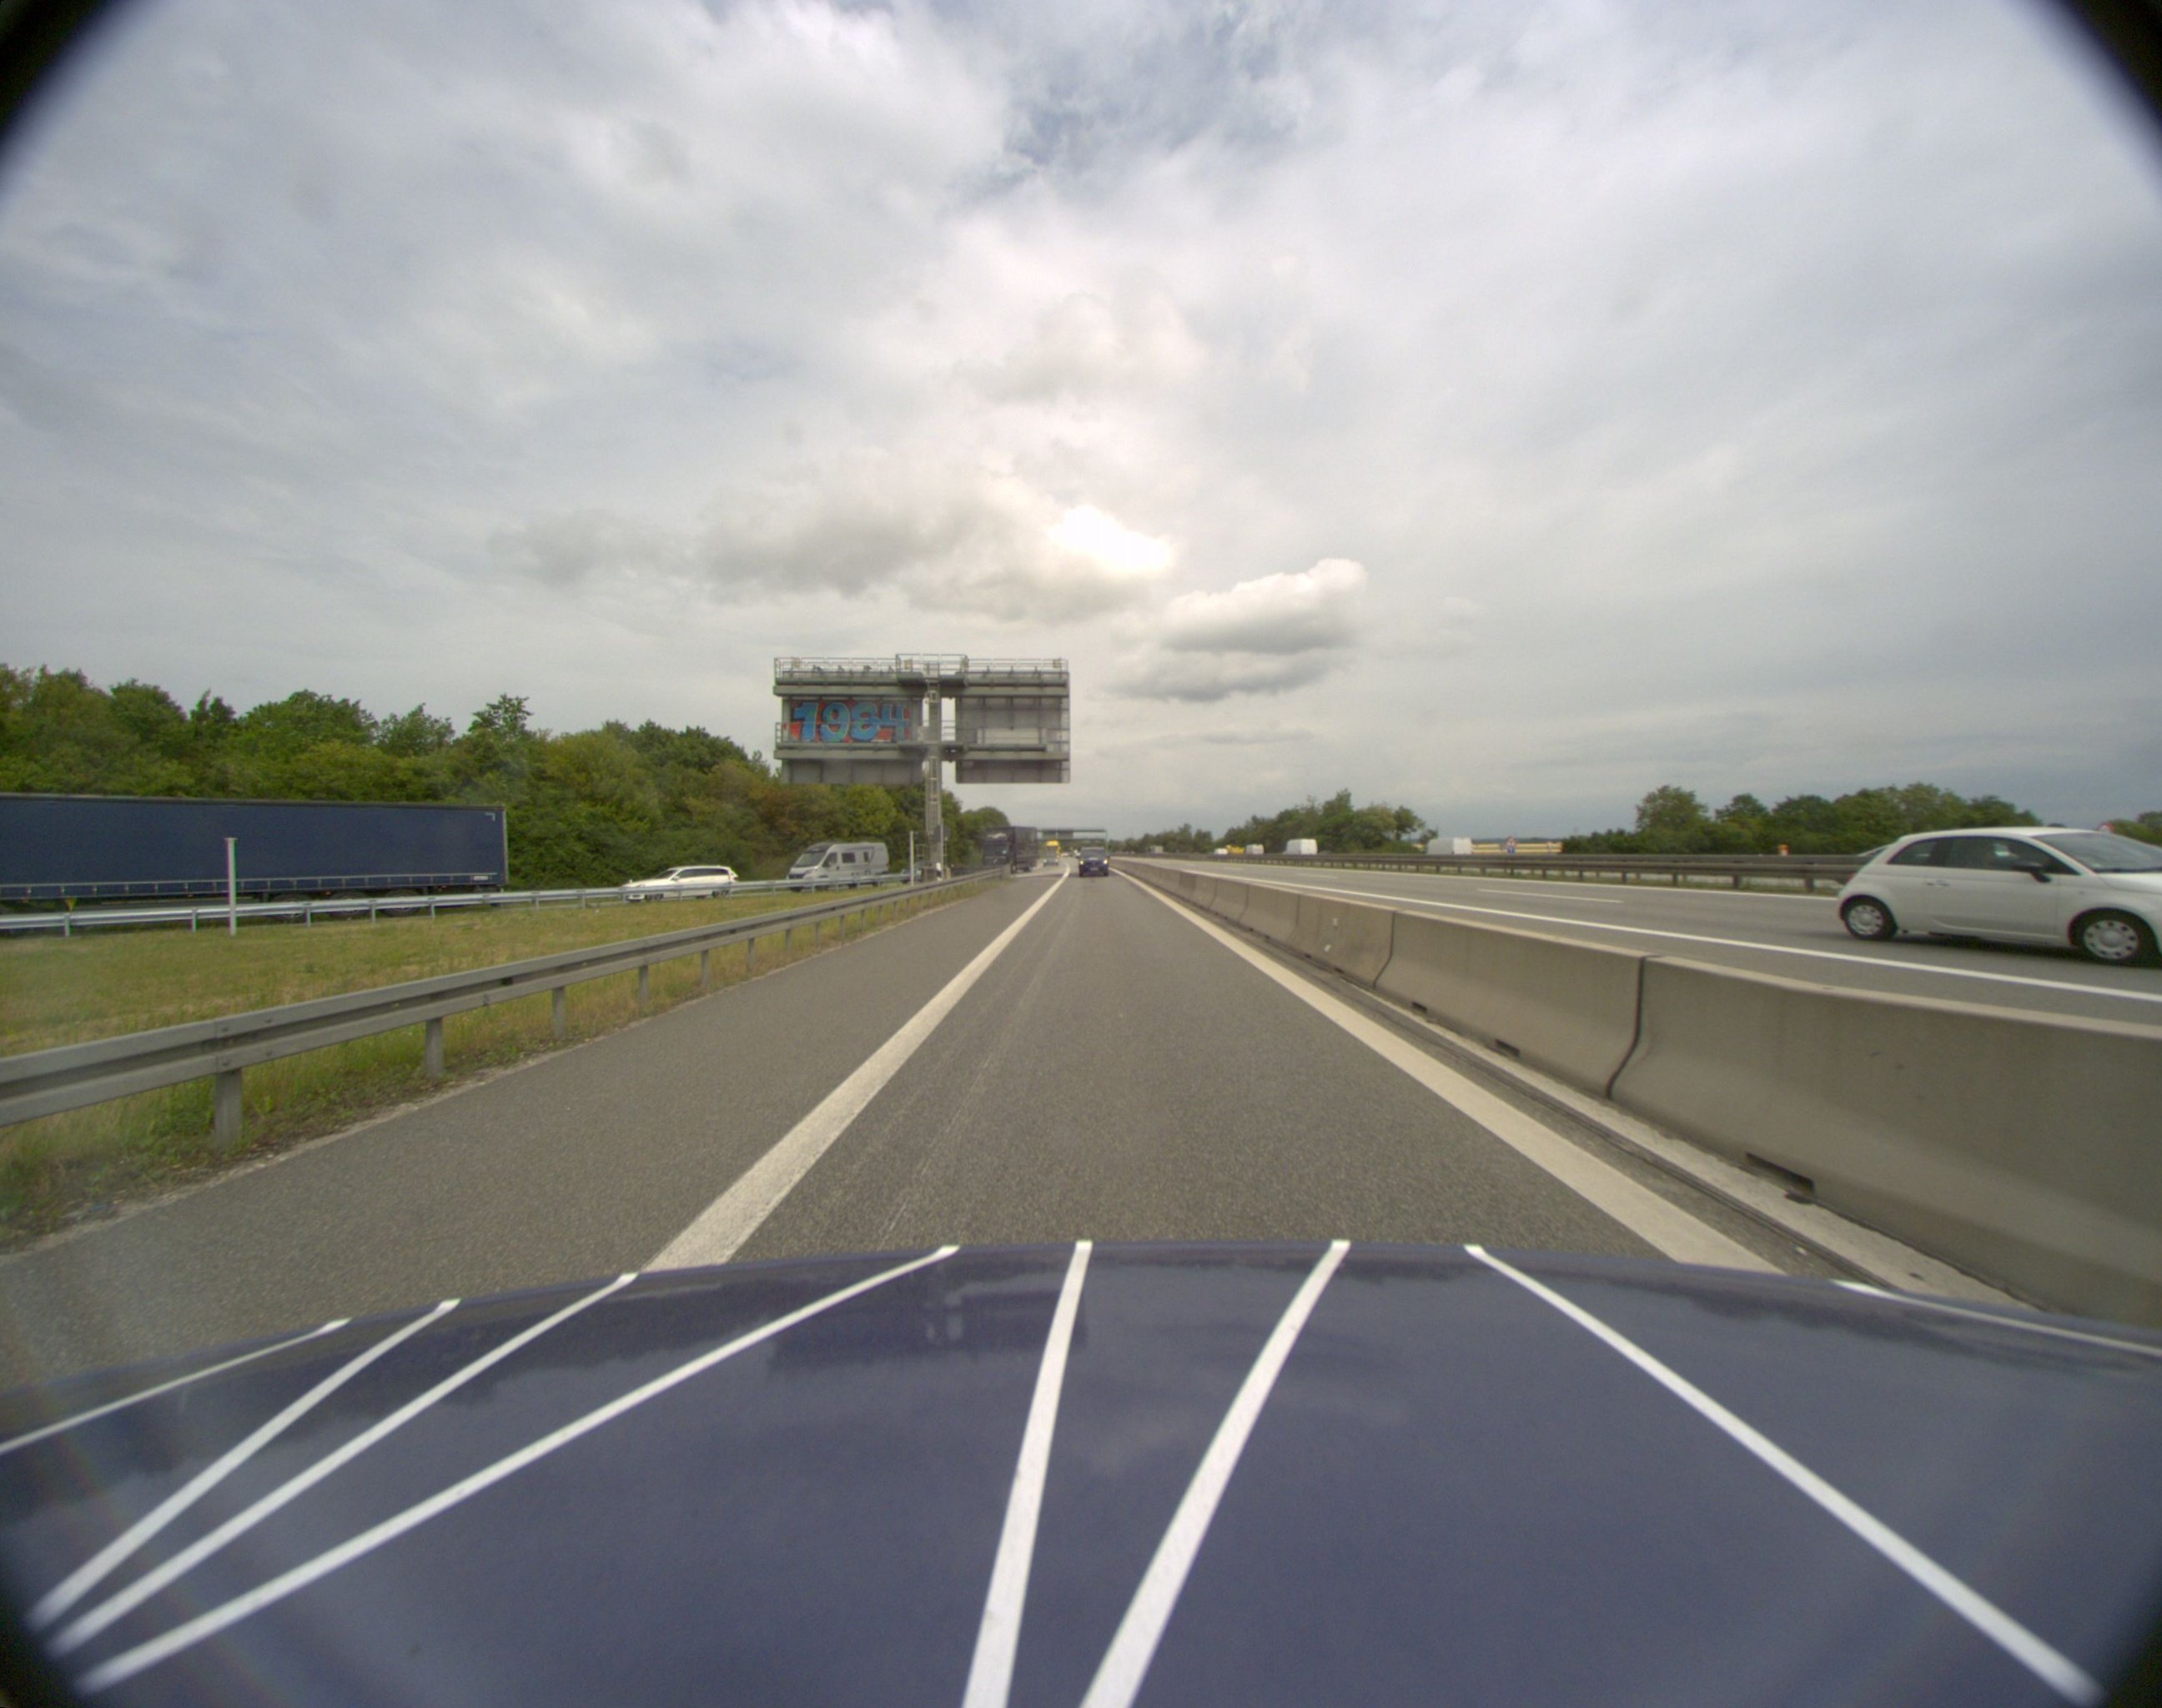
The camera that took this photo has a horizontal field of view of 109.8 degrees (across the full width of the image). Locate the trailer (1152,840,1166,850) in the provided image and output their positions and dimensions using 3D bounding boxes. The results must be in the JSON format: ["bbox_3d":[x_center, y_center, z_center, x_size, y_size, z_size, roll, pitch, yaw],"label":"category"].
[{"bbox_3d":[26.271,-3.061,256.671,3.206,3.250,9.821,-2,1,-3],"label":"trailer"}]

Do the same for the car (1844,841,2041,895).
[{"bbox_3d":[26.390,0.380,23.502,1.527,1.455,3.999,-2,1,0],"label":"car"}]

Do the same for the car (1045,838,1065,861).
[{"bbox_3d":[-5.176,-0.998,155.489,3.395,4.457,11.605,-2,1,1],"label":"car"}]

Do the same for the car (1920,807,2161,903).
[{"bbox_3d":[23.103,-0.012,17.968,1.999,2.002,3.998,-2,1,-4],"label":"car"}]

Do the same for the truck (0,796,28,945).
[{"bbox_3d":[-32.698,0.529,19.094,3.361,4.071,6.802,-1,1,43],"label":"truck"}]

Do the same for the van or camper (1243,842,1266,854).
[{"bbox_3d":[31.133,-1.118,136.156,2.241,2.002,6.275,-2,0,-4],"label":"van or camper"}]

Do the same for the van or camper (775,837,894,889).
[{"bbox_3d":[-12.993,0.408,40.573,2.295,2.553,6.171,-1,1,28],"label":"van or camper"}]

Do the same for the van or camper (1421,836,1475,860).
[{"bbox_3d":[35.391,-0.568,73.480,2.193,2.159,5.807,-2,0,-3],"label":"van or camper"}]

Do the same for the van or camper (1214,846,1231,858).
[{"bbox_3d":[23.387,-0.322,125.633,1.999,1.818,4.346,-2,0,-1],"label":"van or camper"}]

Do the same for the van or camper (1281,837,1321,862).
[{"bbox_3d":[24.808,-0.502,86.075,2.193,2.604,6.902,-2,0,-3],"label":"van or camper"}]

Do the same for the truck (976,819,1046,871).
[{"bbox_3d":[-5.641,-0.769,63.973,3.022,3.931,10.347,-2,1,11],"label":"truck"}]

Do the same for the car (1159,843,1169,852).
[{"bbox_3d":[20.231,-1.550,185.543,1.998,2.002,4.000,-2,1,1],"label":"car"}]

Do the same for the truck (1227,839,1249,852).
[{"bbox_3d":[34.550,-1.824,167.954,2.914,2.758,8.780,-1,0,0],"label":"truck"}]

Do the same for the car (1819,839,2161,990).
[{"bbox_3d":[11.417,0.582,8.917,1.685,1.476,3.772,-1,1,-5],"label":"car"}]

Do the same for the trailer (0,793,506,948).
[{"bbox_3d":[-27.310,0.351,24.857,3.332,4.169,13.057,-1,1,43],"label":"trailer"}]

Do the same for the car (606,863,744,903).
[{"bbox_3d":[-17.616,1.200,33.204,2.207,1.493,4.796,-1,1,36],"label":"car"}]

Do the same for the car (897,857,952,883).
[{"bbox_3d":[-9.919,0.995,48.442,1.731,1.411,3.670,-2,1,20],"label":"car"}]

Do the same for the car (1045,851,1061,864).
[{"bbox_3d":[-3.425,0.380,91.671,1.866,1.434,3.998,-2,1,-3],"label":"car"}]

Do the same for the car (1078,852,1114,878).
[{"bbox_3d":[0.857,0.601,45.375,1.866,1.434,3.998,-2,1,-3],"label":"car"}]
